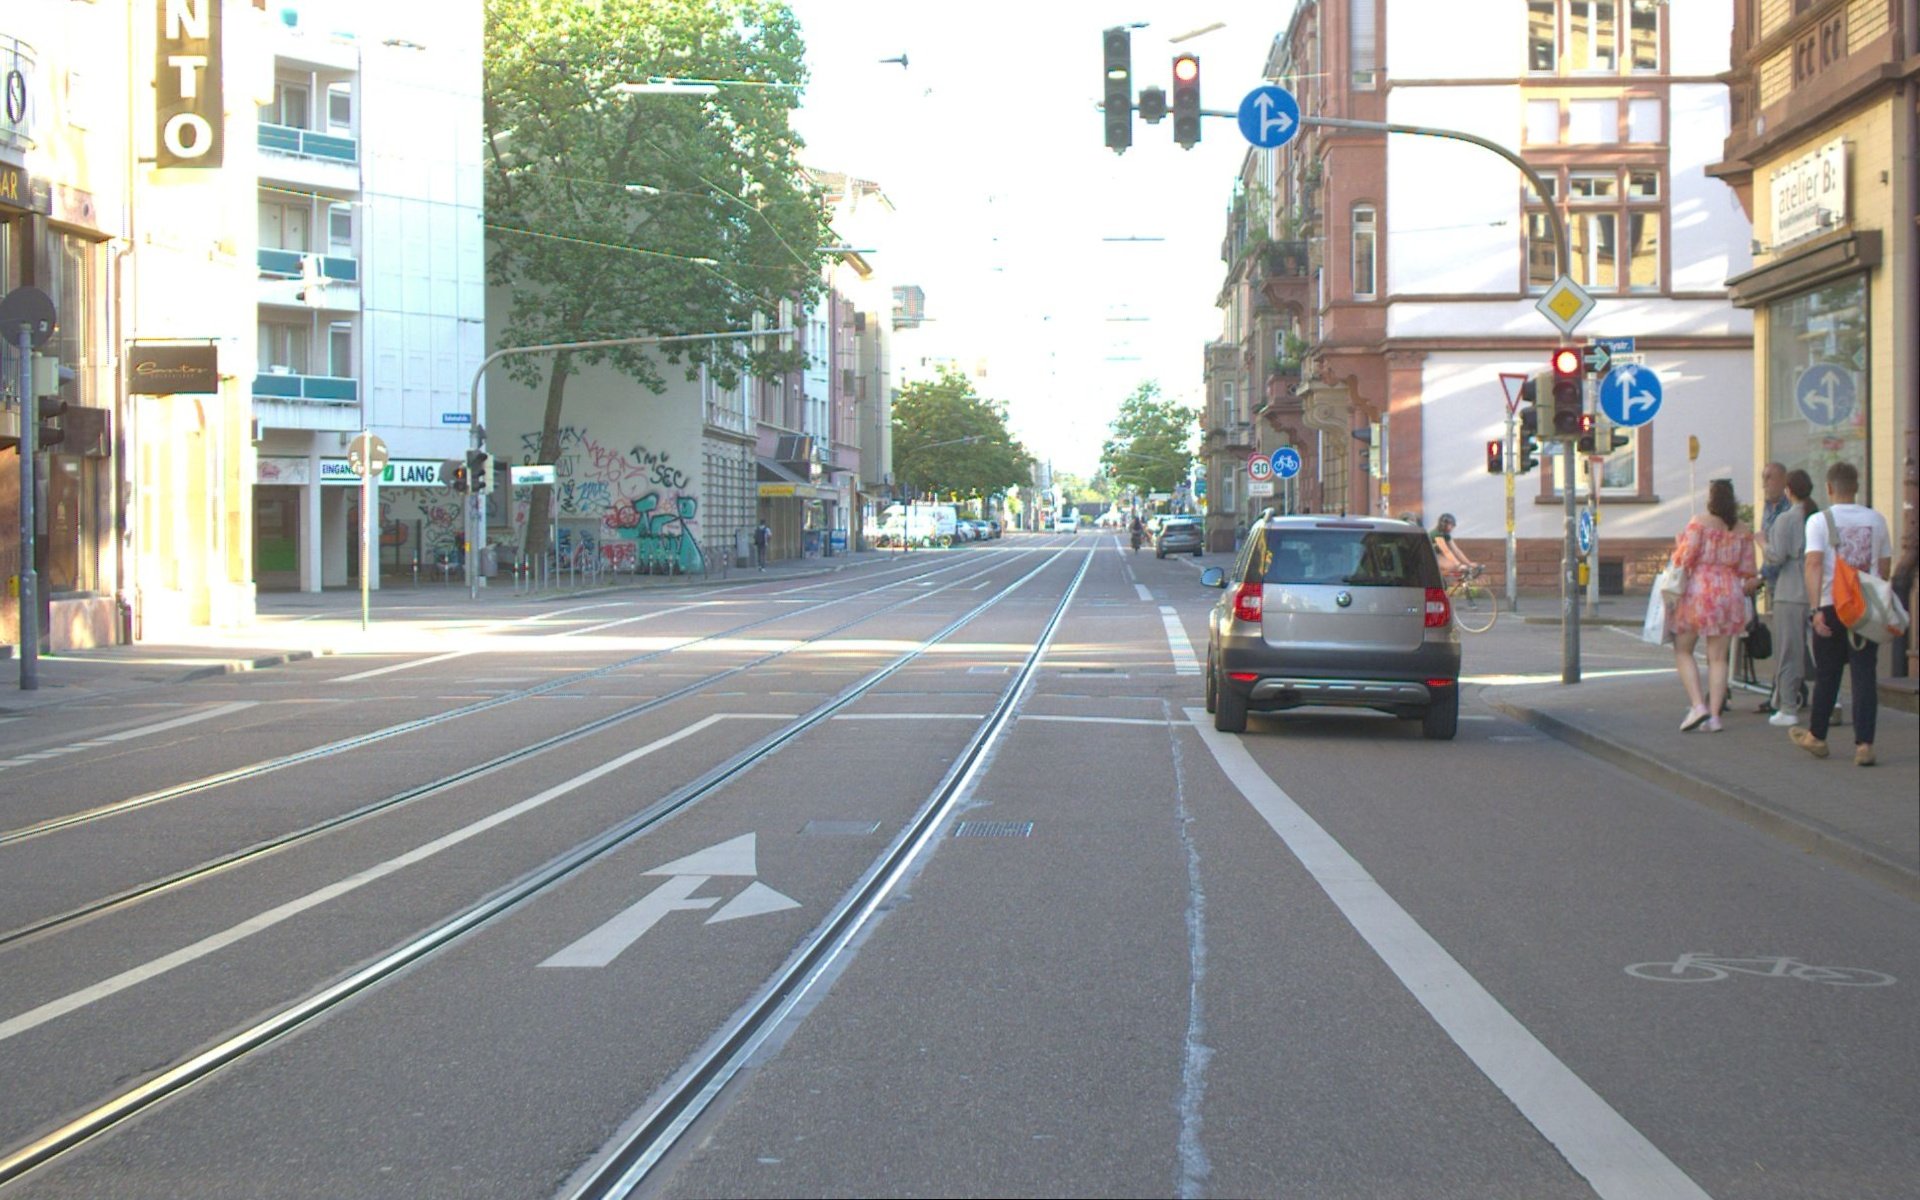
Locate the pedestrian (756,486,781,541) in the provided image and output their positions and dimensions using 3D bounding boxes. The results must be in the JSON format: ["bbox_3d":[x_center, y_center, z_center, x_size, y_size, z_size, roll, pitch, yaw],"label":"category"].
[{"bbox_3d":[-5.952,-2.687,106.852,0.701,1.722,0.647,1,1,3],"label":"pedestrian"}]

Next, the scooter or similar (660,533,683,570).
[{"bbox_3d":[-8.439,-1.425,100.516,0.516,1.053,1.478,1,1,1],"label":"scooter or similar"}]

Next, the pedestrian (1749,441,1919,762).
[{"bbox_3d":[5.179,-0.009,20.128,0.805,1.794,1.092,-3,1,1],"label":"pedestrian"}]

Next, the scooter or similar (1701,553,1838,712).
[{"bbox_3d":[5.720,0.225,24.320,0.805,1.066,0.521,-4,1,3],"label":"scooter or similar"}]

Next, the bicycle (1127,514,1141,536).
[{"bbox_3d":[8.183,-3.510,161.548,0.575,1.026,1.895,1,1,4],"label":"bicycle"}]

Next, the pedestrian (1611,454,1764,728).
[{"bbox_3d":[4.952,-0.070,23.434,0.805,1.794,0.761,-3,1,1],"label":"pedestrian"}]

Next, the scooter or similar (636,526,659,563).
[{"bbox_3d":[-9.126,-1.626,100.513,0.516,1.042,1.478,1,1,1],"label":"scooter or similar"}]

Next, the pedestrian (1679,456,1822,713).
[{"bbox_3d":[5.733,-0.120,24.958,0.805,1.794,0.761,-3,1,3],"label":"pedestrian"}]

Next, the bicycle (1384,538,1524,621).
[{"bbox_3d":[6.670,-0.276,46.427,1.717,1.031,0.598,3,0,28],"label":"bicycle"}]

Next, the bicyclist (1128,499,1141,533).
[{"bbox_3d":[8.171,-3.938,161.296,0.575,1.548,0.595,1,1,4],"label":"bicyclist"}]

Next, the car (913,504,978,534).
[{"bbox_3d":[-0.977,-5.548,235.236,3.986,2.007,2.001,1,1,-22],"label":"car"}]

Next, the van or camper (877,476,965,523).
[{"bbox_3d":[-2.249,-5.809,199.383,4.634,2.554,2.000,1,1,-28],"label":"van or camper"}]

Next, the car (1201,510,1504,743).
[{"bbox_3d":[2.918,0.146,26.364,1.994,1.612,4.000,1,1,2],"label":"car"}]

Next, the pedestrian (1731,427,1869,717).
[{"bbox_3d":[5.685,-0.195,23.301,0.690,1.902,0.670,-3,1,1],"label":"pedestrian"}]

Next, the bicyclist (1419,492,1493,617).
[{"bbox_3d":[6.677,-0.608,46.286,0.741,1.628,0.607,3,0,29],"label":"bicyclist"}]

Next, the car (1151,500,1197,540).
[{"bbox_3d":[9.246,-3.452,148.531,1.950,1.678,4.000,1,1,4],"label":"car"}]
